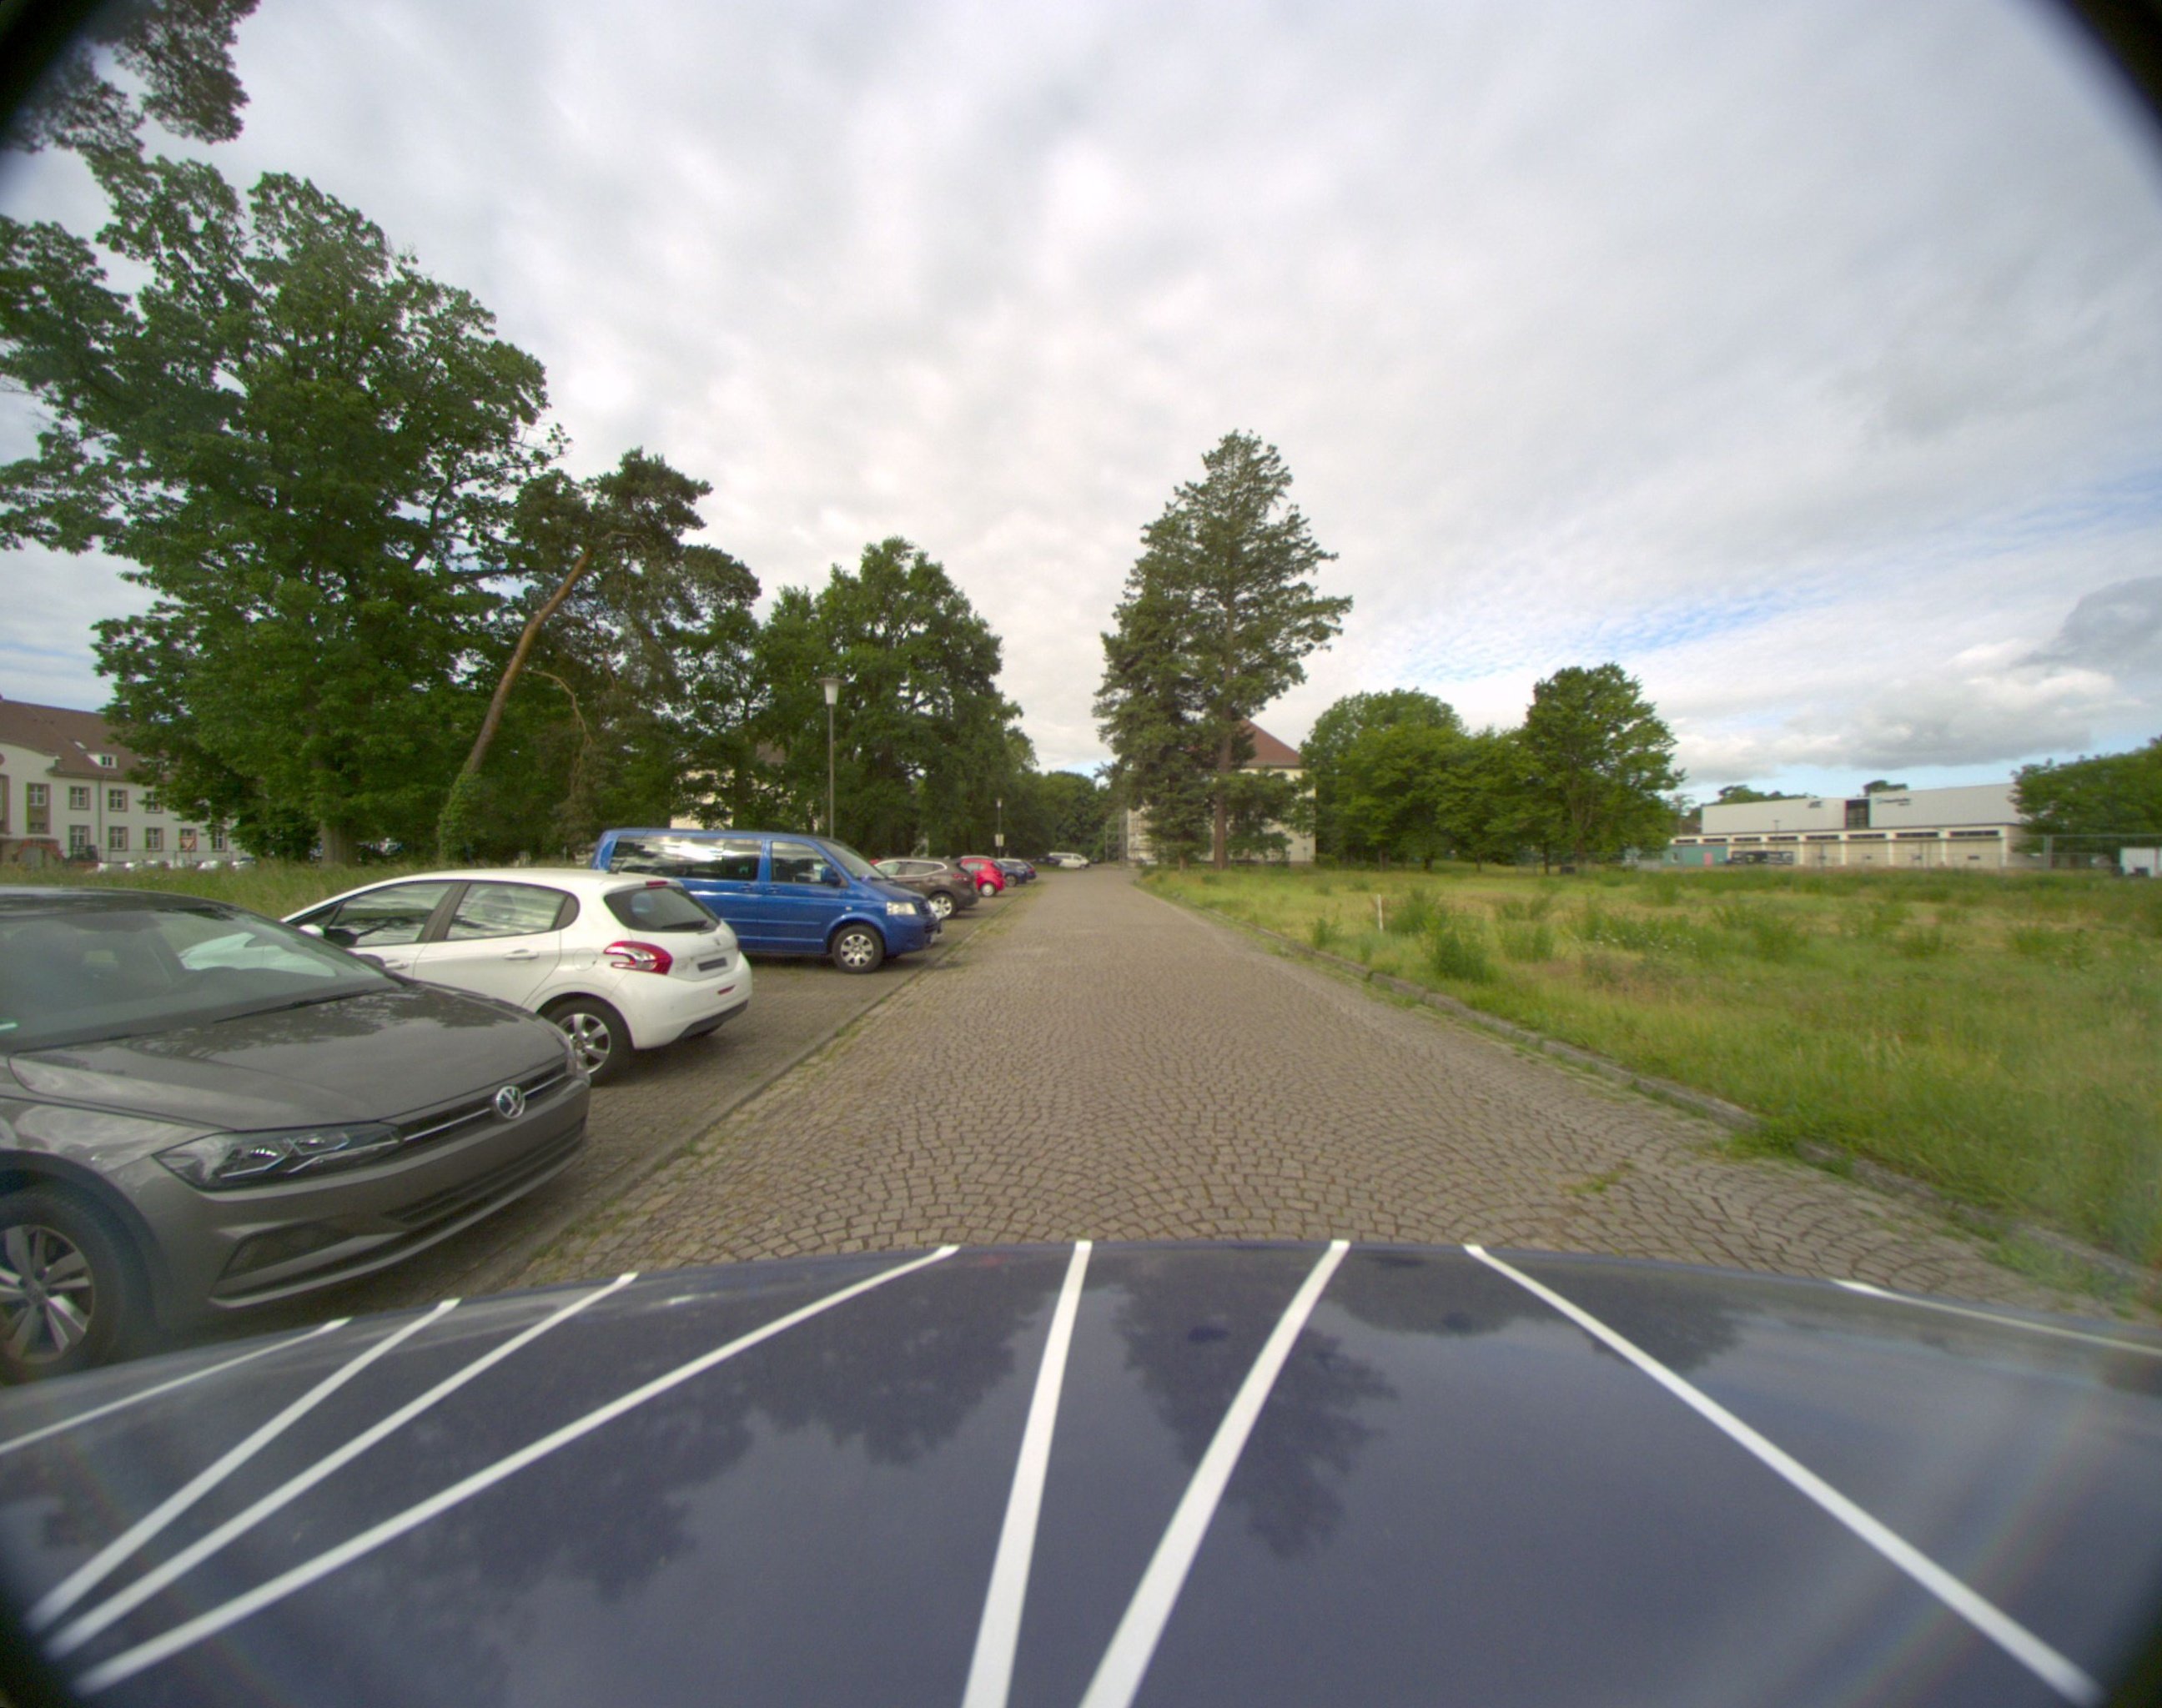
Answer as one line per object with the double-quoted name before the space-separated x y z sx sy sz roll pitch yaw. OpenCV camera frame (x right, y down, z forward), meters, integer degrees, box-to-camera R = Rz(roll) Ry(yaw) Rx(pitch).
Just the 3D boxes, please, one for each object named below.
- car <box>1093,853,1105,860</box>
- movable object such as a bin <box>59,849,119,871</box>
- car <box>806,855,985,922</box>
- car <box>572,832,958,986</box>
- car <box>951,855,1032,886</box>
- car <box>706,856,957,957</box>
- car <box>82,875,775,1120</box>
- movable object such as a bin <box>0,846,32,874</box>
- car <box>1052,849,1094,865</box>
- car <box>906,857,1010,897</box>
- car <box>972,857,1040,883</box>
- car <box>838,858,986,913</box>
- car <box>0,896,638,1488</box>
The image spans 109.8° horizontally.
"car" 3.780 0.511 161.067 1.870 1.408 4.694 2 0 -5
"movable object such as a bin" -90.505 0.509 69.391 1.553 2.002 2.985 0 0 0
"car" -4.793 0.877 20.067 4.271 1.589 1.821 1 0 -2
"car" -4.404 0.747 11.234 4.820 1.934 2.003 2 0 -2
"car" -4.746 0.864 40.586 4.150 1.529 1.582 1 0 -2
"car" -4.369 0.897 13.799 3.873 1.463 1.841 4 0 -2
"car" -4.703 0.975 5.924 3.872 1.463 1.758 2 0 1
"movable object such as a bin" -77.895 0.444 54.163 1.679 2.002 3.245 0 0 8
"car" -0.996 0.420 94.073 5.141 1.860 1.723 1 0 -2
"car" -4.844 0.910 30.343 3.895 1.451 1.582 1 0 -2
"car" -4.421 0.933 45.249 3.878 1.417 1.582 1 0 -2
"car" -4.979 0.911 22.793 4.016 1.477 1.765 1 0 0
"car" -4.205 0.980 2.972 3.872 1.463 1.758 2 0 -1
